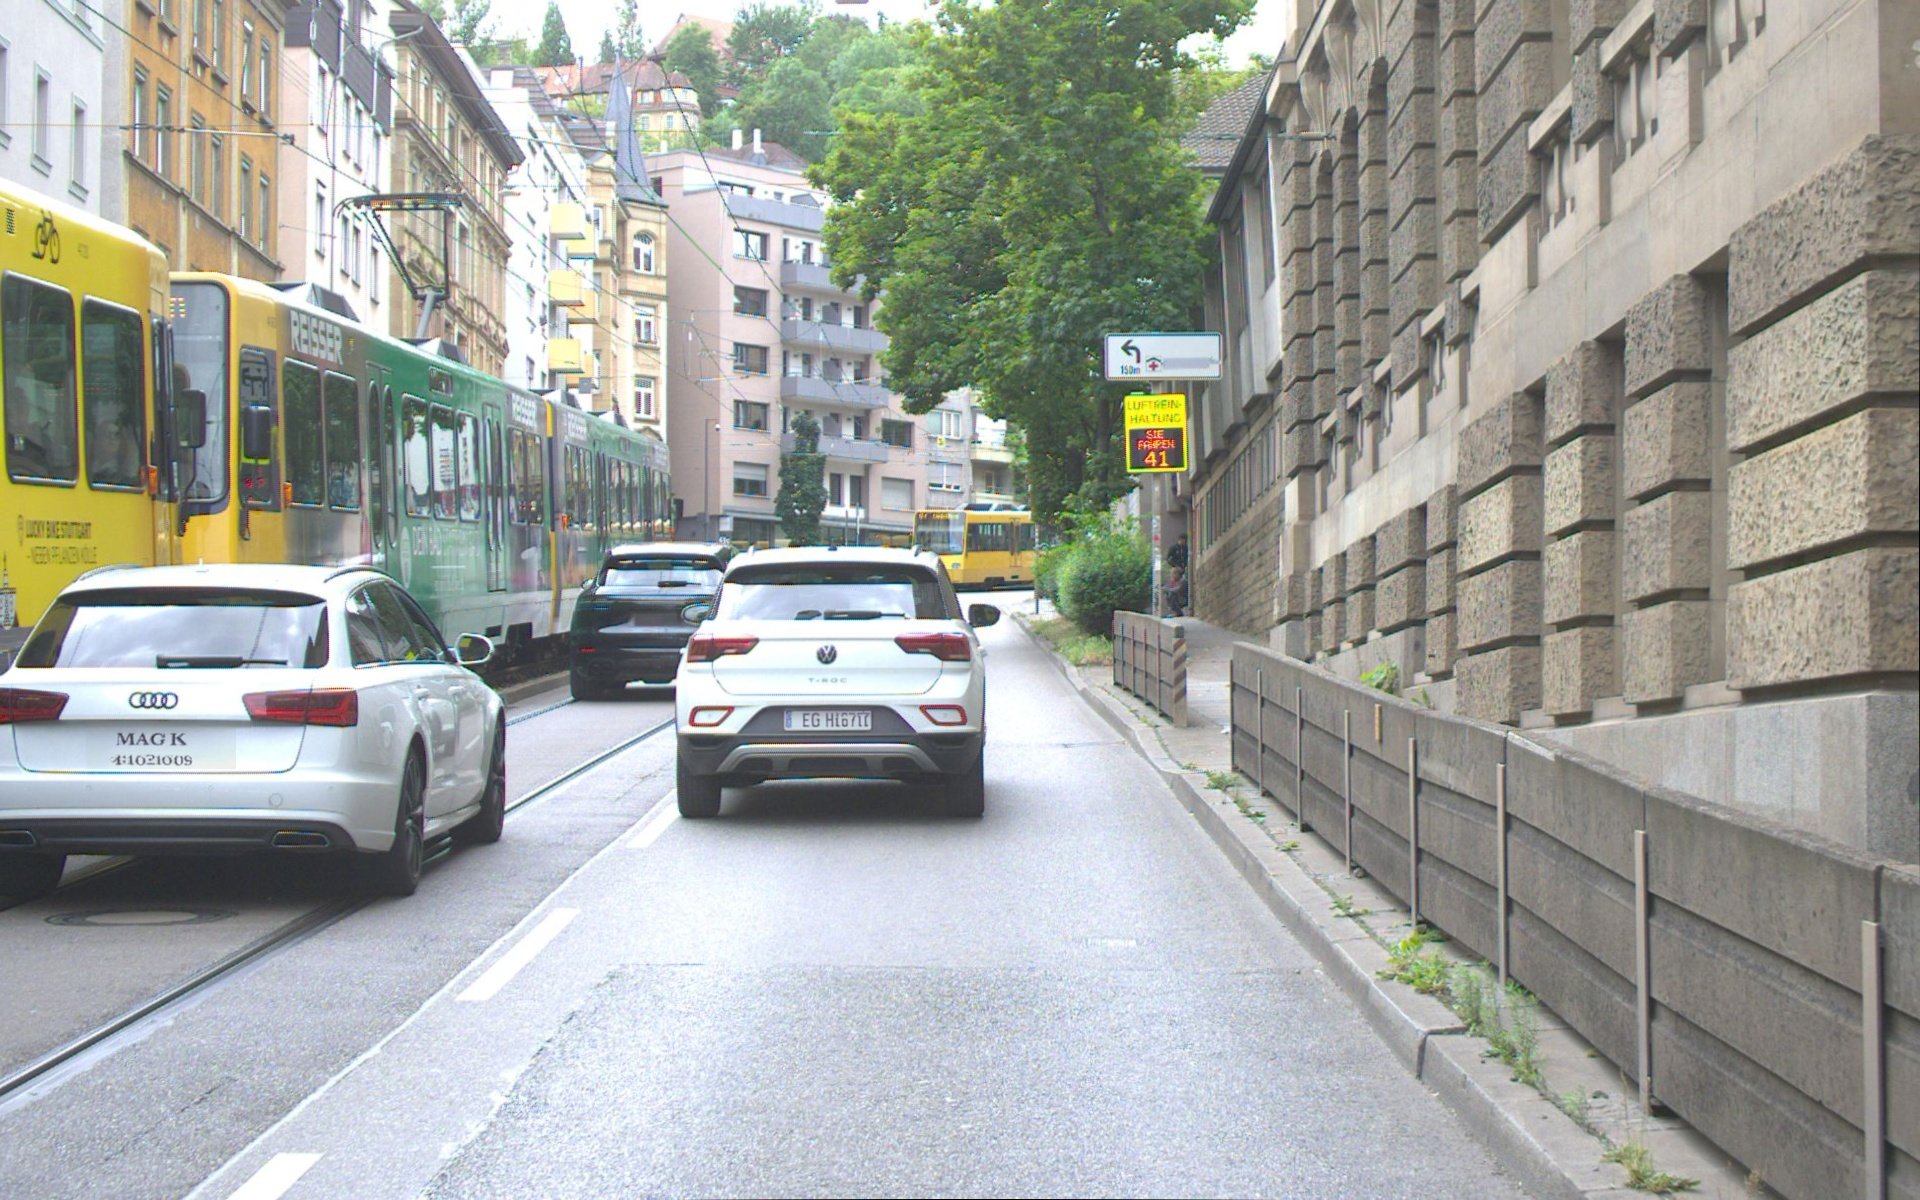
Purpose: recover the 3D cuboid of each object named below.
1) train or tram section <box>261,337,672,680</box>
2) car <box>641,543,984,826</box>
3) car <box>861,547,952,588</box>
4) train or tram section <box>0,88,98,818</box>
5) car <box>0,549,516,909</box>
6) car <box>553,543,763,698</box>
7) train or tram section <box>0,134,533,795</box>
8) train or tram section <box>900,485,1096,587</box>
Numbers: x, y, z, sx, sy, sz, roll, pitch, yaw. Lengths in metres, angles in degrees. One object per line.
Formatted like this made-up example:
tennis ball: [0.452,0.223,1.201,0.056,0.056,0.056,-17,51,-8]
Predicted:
train or tram section: [-6.262,-1.141,47.533,2.876,3.713,18.757,2,1,0]
car: [-0.800,0.434,20.926,1.879,1.549,4.000,0,1,0]
car: [-2.634,-1.607,171.101,1.998,2.028,4.691,1,1,39]
train or tram section: [-6.302,-0.670,9.988,2.876,3.713,18.703,2,1,0]
car: [-3.318,0.503,16.222,1.879,1.450,4.617,0,0,0]
car: [-3.215,0.178,37.356,2.038,1.566,4.359,0,1,-2]
train or tram section: [-6.294,-0.928,28.776,2.876,3.713,18.757,2,1,0]
train or tram section: [1.917,-2.763,152.070,3.020,4.199,18.842,1,1,18]
